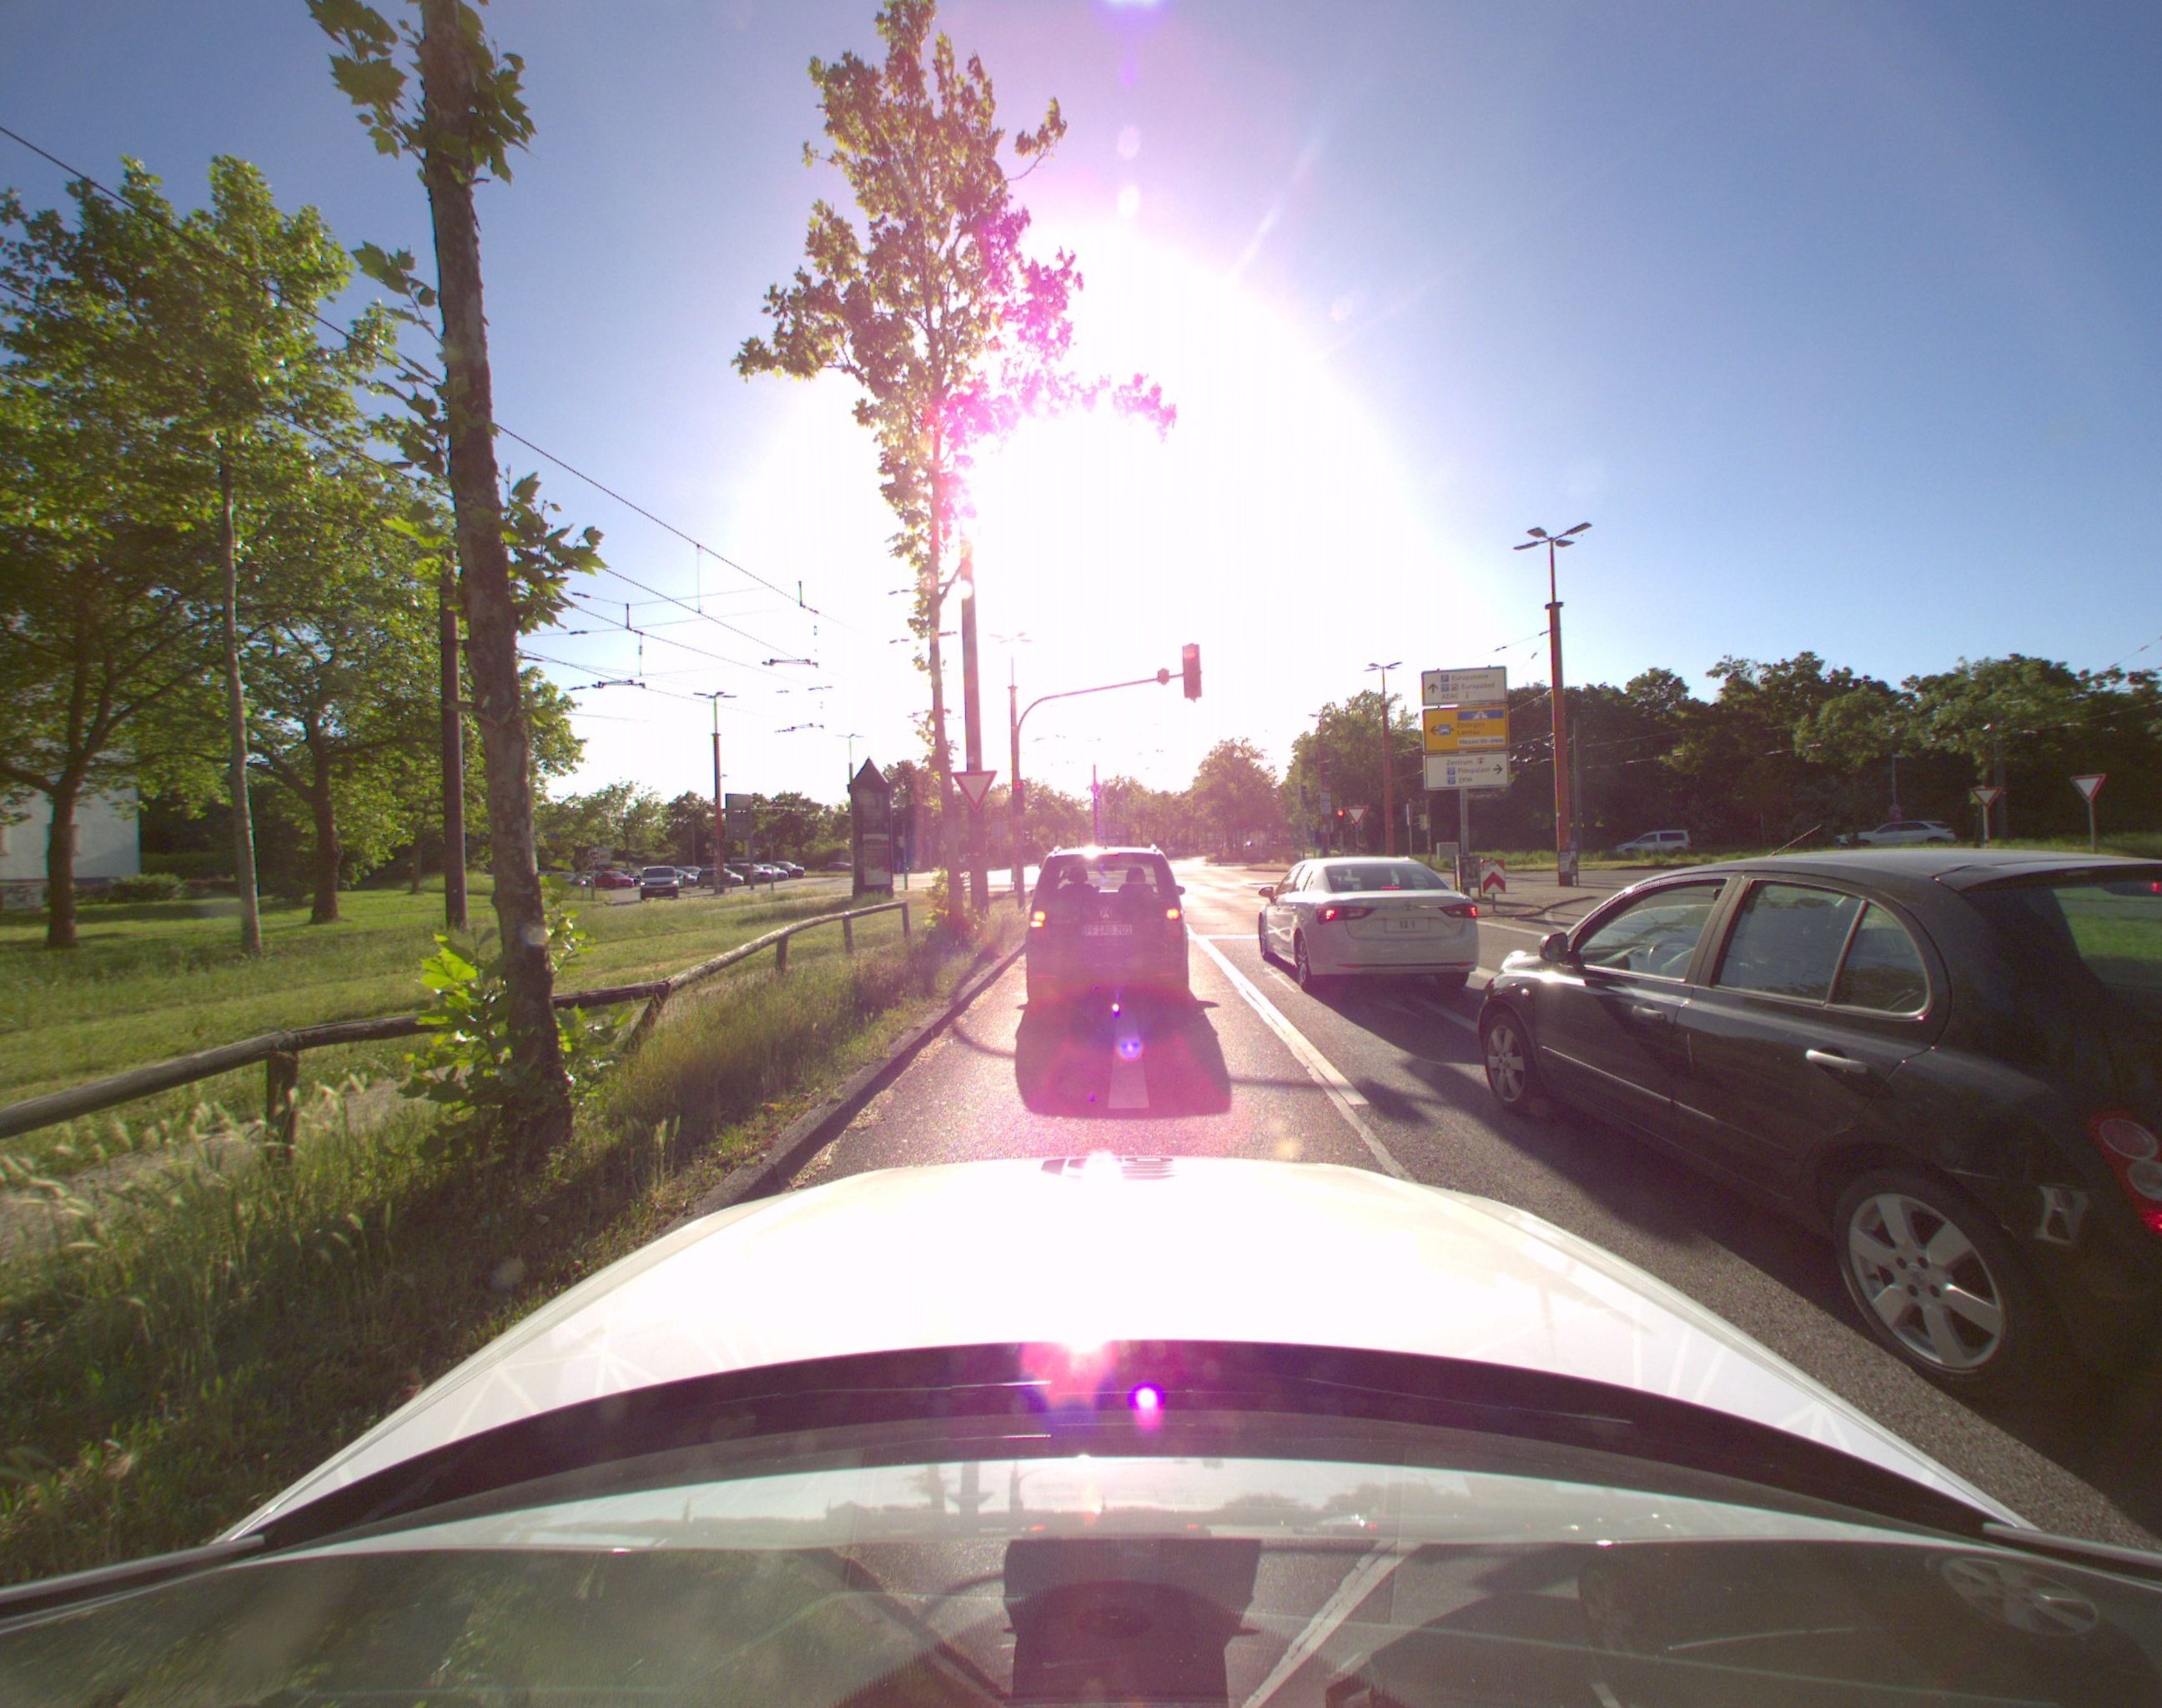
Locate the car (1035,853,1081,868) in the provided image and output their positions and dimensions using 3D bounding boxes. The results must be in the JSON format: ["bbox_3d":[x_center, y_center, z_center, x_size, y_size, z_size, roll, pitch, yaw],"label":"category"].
[{"bbox_3d":[-2.193,0.614,77.494,4.080,1.403,1.666,-1,0,27],"label":"car"}]

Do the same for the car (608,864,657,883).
[{"bbox_3d":[-40.455,1.725,73.445,4.583,1.647,1.767,-1,0,32],"label":"car"}]

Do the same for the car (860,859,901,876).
[{"bbox_3d":[-21.419,1.466,87.019,4.080,1.791,1.810,-1,0,28],"label":"car"}]

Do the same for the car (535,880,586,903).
[{"bbox_3d":[-40.903,2.920,64.004,4.239,1.618,1.667,-1,0,32],"label":"car"}]

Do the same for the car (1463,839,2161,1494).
[{"bbox_3d":[3.174,0.694,3.500,1.570,1.440,3.443,0,-1,2],"label":"car"}]

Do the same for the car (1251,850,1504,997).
[{"bbox_3d":[3.368,0.708,10.198,1.792,1.440,4.329,0,-1,3],"label":"car"}]

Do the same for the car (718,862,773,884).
[{"bbox_3d":[-26.926,1.515,65.363,4.583,1.647,1.667,-1,0,32],"label":"car"}]

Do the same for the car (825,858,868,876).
[{"bbox_3d":[-24.690,1.383,85.744,4.081,1.791,1.809,-1,0,26],"label":"car"}]

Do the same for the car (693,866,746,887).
[{"bbox_3d":[-27.331,1.694,61.581,3.793,1.441,1.667,-1,0,29],"label":"car"}]

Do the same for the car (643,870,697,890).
[{"bbox_3d":[-32.665,2.072,64.745,4.577,1.520,1.667,-1,0,32],"label":"car"}]

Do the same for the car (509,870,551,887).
[{"bbox_3d":[-51.126,2.257,75.536,4.145,1.520,1.667,-1,0,32],"label":"car"}]

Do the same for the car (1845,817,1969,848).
[{"bbox_3d":[46.647,-1.190,46.144,4.616,1.625,1.667,-1,0,28],"label":"car"}]

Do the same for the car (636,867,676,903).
[{"bbox_3d":[-23.938,1.672,45.786,1.838,1.821,4.856,-1,0,-30],"label":"car"}]

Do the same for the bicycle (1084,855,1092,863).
[{"bbox_3d":[1.175,0.859,136.486,0.970,1.388,2.987,-1,0,9],"label":"bicycle"}]

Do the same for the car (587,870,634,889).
[{"bbox_3d":[-39.442,2.148,68.264,4.145,1.520,1.667,-1,0,32],"label":"car"}]

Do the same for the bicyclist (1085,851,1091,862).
[{"bbox_3d":[1.174,0.435,136.529,0.970,1.904,1.053,-1,0,9],"label":"bicyclist"}]

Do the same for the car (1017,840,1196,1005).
[{"bbox_3d":[0.361,0.688,10.094,1.731,1.602,4.329,0,-1,3],"label":"car"}]

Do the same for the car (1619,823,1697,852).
[{"bbox_3d":[38.511,-1.081,54.498,4.080,1.750,1.667,-1,0,28],"label":"car"}]

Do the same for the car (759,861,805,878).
[{"bbox_3d":[-26.730,1.381,72.824,4.102,1.415,1.553,-1,0,28],"label":"car"}]

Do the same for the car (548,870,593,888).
[{"bbox_3d":[-45.079,2.218,71.915,4.145,1.520,1.667,-1,0,32],"label":"car"}]

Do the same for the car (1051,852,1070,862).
[{"bbox_3d":[-3.130,0.429,126.058,1.638,1.403,4.150,-1,0,17],"label":"car"}]

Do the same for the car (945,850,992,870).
[{"bbox_3d":[-10.648,0.548,76.926,4.081,1.791,1.809,-1,0,26],"label":"car"}]

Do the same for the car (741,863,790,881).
[{"bbox_3d":[-26.833,1.522,69.200,4.102,1.415,1.553,-1,0,28],"label":"car"}]
